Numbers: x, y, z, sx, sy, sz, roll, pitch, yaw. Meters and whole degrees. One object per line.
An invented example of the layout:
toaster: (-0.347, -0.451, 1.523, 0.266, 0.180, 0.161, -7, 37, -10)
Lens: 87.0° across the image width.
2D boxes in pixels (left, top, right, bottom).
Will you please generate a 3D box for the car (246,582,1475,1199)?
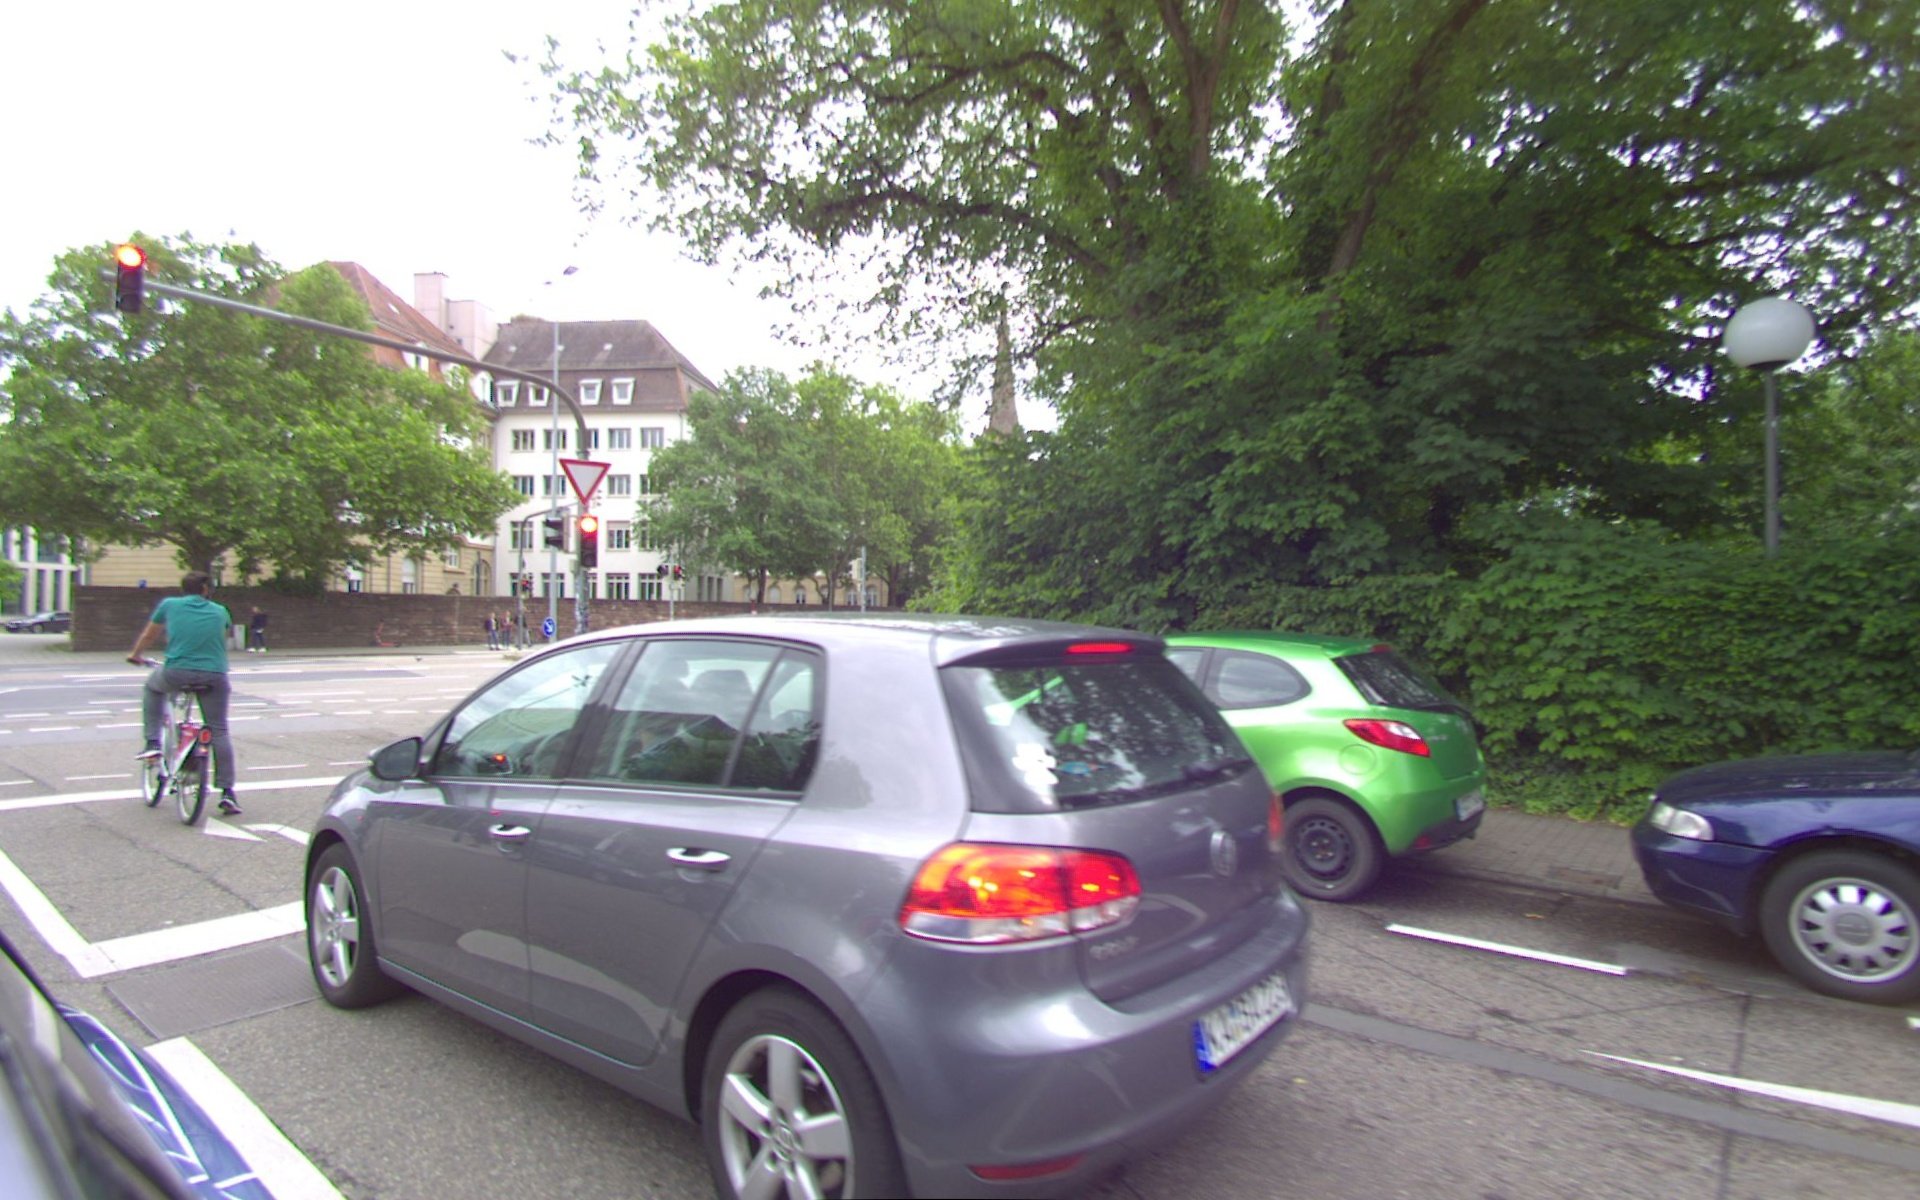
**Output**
car: (-0.719, 0.778, 3.471, 4.164, 1.508, 1.765, -1, -2, 40)

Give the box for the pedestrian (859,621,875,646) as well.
pedestrian: (-6.480, 2.325, 70.301, 0.787, 1.773, 0.766, 0, -2, 27)

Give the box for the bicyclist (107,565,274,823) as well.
bicyclist: (-5.774, 0.668, 7.595, 0.981, 1.793, 0.652, -1, -2, 32)

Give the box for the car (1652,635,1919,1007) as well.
car: (5.252, 0.866, 3.648, 4.337, 1.419, 1.778, -1, -3, 43)

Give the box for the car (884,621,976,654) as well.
car: (-1.643, 2.109, 57.585, 2.048, 1.710, 5.298, -4, -3, 43)

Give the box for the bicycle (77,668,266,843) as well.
bicycle: (-5.738, 1.049, 7.327, 1.855, 1.045, 0.651, -1, -2, 39)

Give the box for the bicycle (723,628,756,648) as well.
bicycle: (-13.097, 2.259, 60.197, 0.662, 1.157, 2.135, 1, -1, 29)

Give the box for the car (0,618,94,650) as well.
car: (-56.995, 2.064, 62.991, 1.977, 1.593, 4.395, -10, -2, 5)

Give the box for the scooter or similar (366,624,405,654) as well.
scooter or similar: (-24.564, 1.681, 43.268, 1.389, 1.239, 0.496, 2, -1, -32)

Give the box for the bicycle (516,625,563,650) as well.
bicycle: (-20.312, 1.804, 48.972, 0.581, 1.194, 2.133, 1, -1, 31)

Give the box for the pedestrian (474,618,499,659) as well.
pedestrian: (-20.659, 1.673, 44.156, 0.734, 1.752, 0.662, 0, -1, 37)

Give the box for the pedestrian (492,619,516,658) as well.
pedestrian: (-20.148, 1.702, 44.689, 0.778, 1.706, 0.635, 1, -1, 36)

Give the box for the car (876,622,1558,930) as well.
car: (1.539, 0.912, 7.014, 4.246, 1.481, 1.779, -1, -2, 41)

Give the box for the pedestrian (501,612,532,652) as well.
pedestrian: (-20.271, 1.472, 46.251, 0.757, 1.802, 0.994, 1, -1, 38)

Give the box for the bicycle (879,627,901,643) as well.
bicycle: (-5.131, 2.549, 74.480, 0.505, 1.157, 2.227, 1, -1, 26)

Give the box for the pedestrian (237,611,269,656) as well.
pedestrian: (-26.765, 1.274, 38.328, 0.791, 1.677, 0.798, 0, -1, 41)

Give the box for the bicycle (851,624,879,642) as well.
bicycle: (-6.661, 2.316, 71.060, 0.662, 1.275, 2.517, 1, -1, 29)
